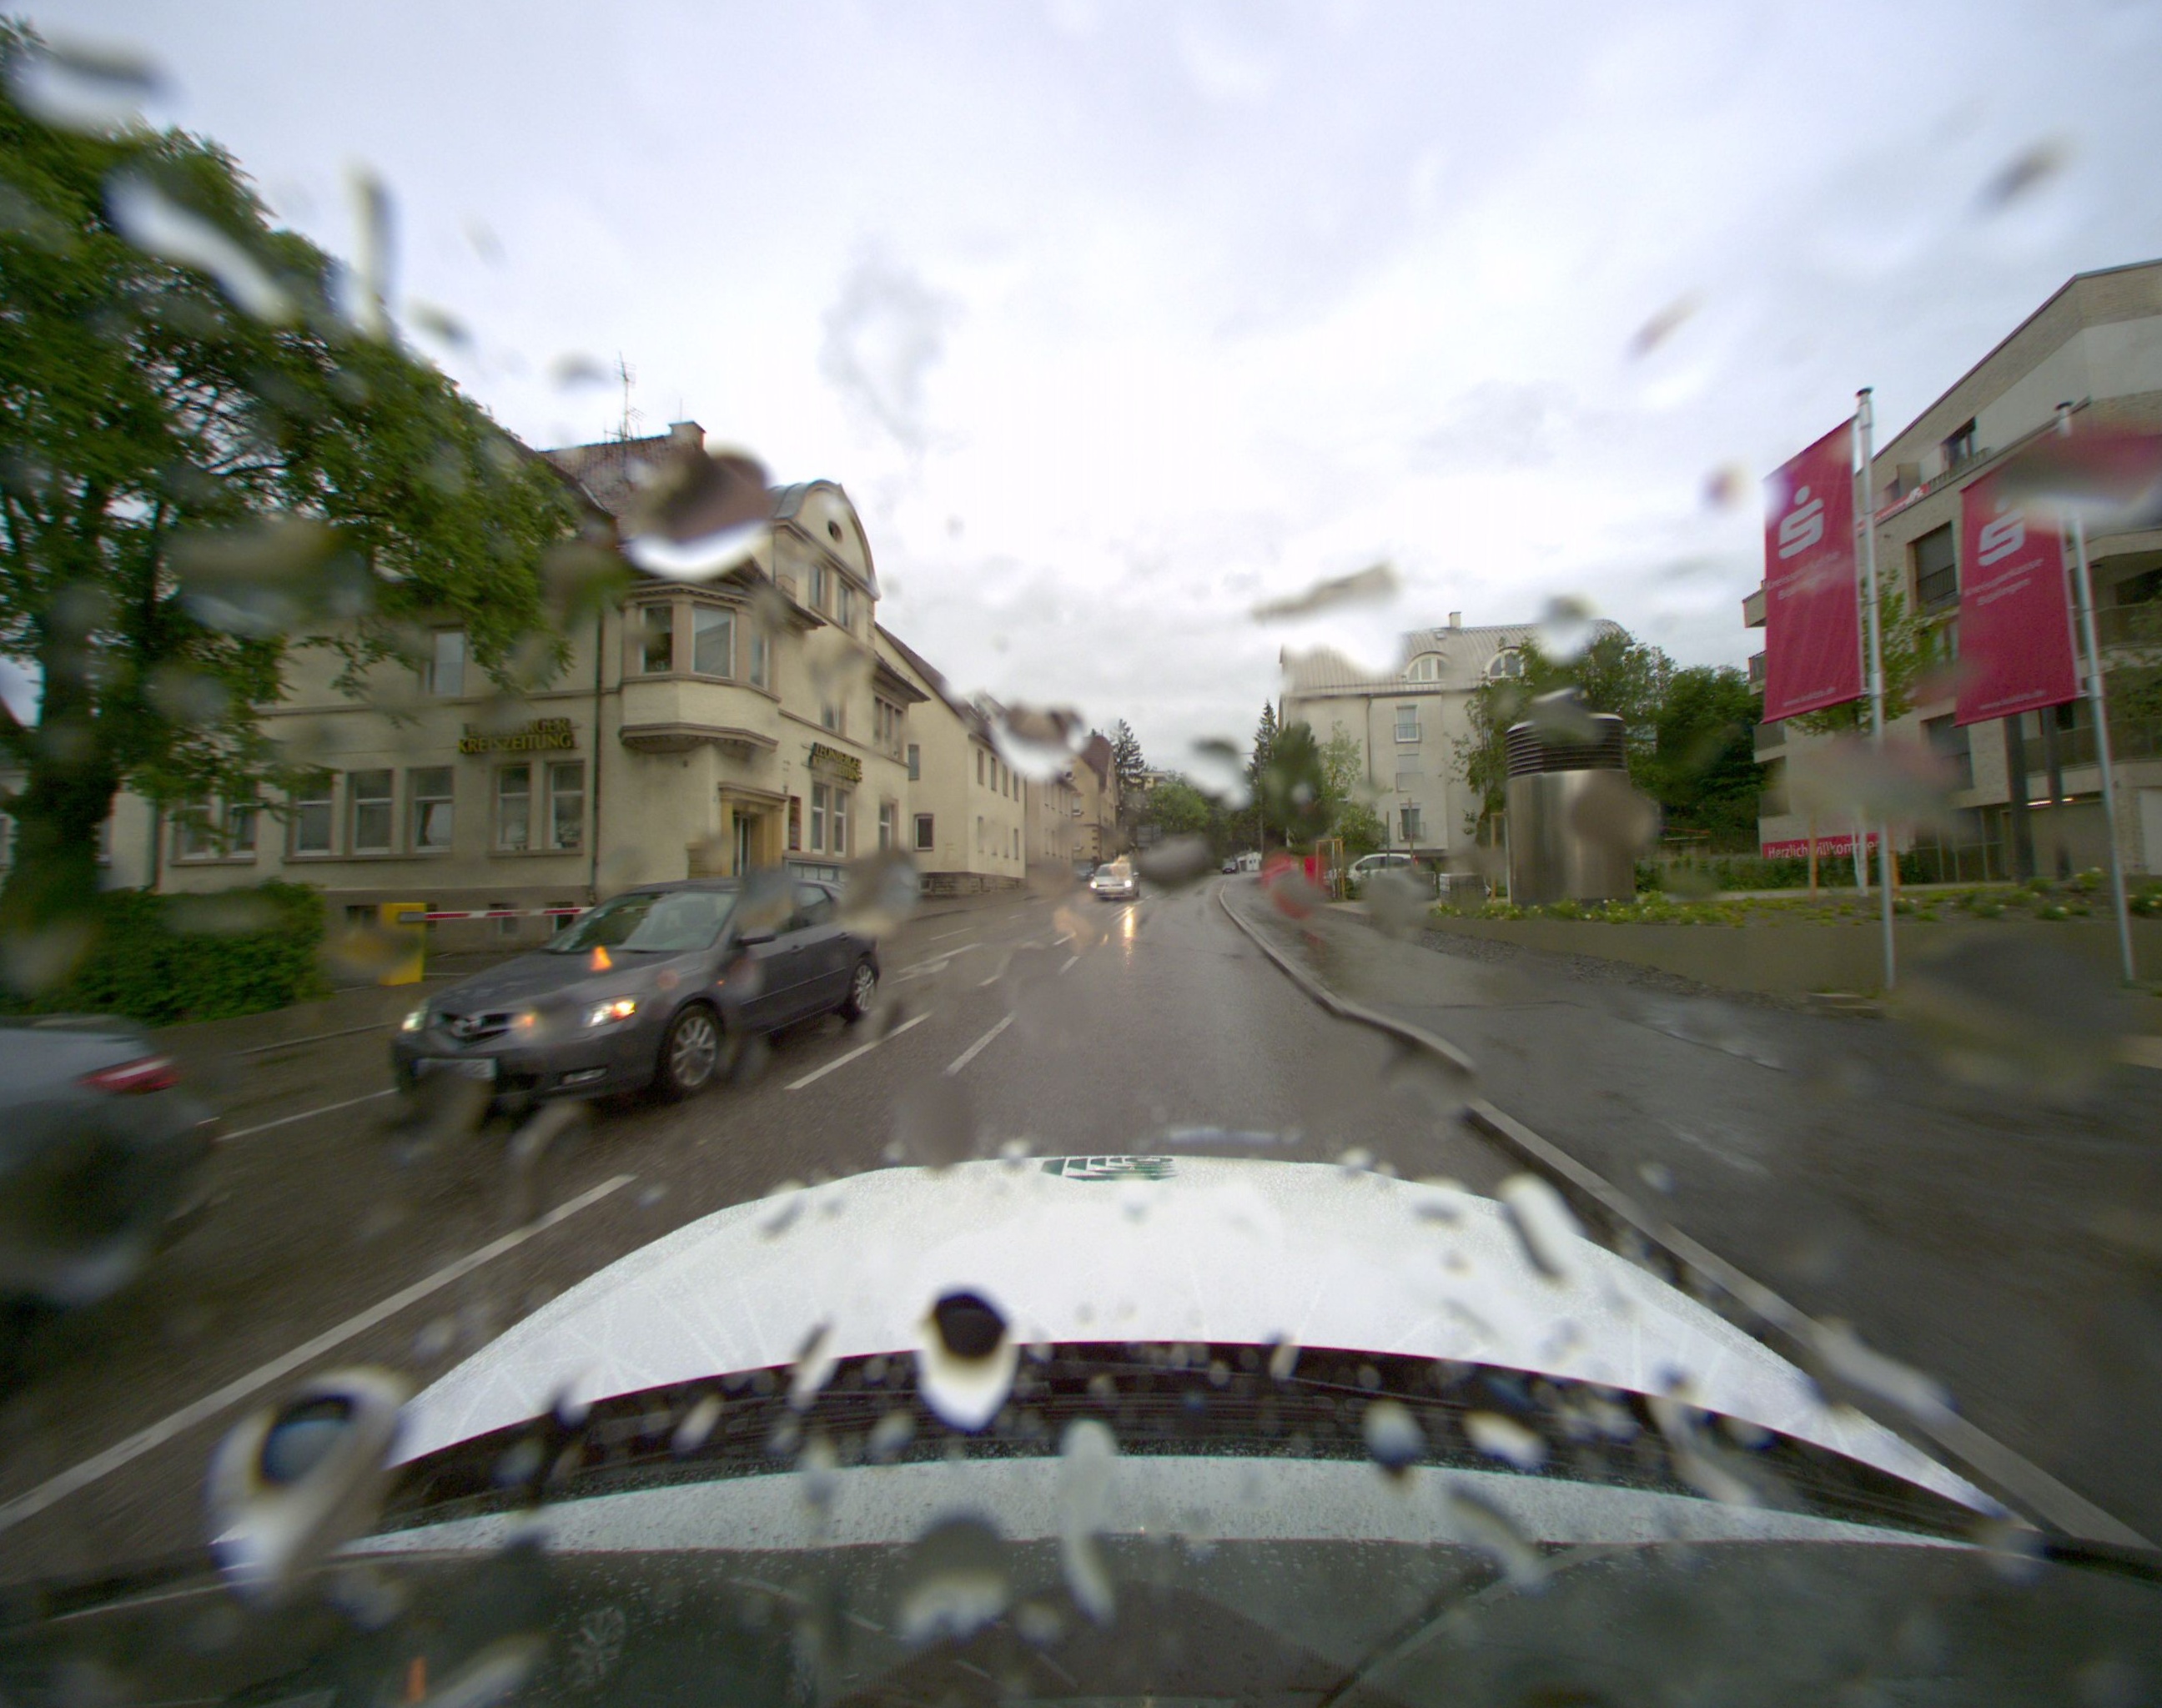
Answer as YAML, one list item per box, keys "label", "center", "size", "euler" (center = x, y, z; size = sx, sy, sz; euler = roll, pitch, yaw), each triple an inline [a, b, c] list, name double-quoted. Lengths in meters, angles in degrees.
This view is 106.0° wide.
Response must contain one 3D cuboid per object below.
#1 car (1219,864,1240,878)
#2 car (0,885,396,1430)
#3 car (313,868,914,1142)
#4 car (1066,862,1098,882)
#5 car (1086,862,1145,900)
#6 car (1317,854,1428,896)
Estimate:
- label: "car"
  center: [17.703, 1.958, 96.830]
  size: [1.730, 1.571, 3.832]
  euler: [2, 0, 20]
- label: "car"
  center: [-4.123, 0.845, 0.940]
  size: [1.929, 1.440, 5.029]
  euler: [-1, -1, 9]
- label: "car"
  center: [-3.161, 0.879, 6.893]
  size: [1.788, 1.439, 4.702]
  euler: [-1, -1, 10]
- label: "car"
  center: [0.137, 1.422, 65.547]
  size: [1.759, 1.503, 3.895]
  euler: [0, 0, 12]
- label: "car"
  center: [1.478, 1.054, 33.428]
  size: [1.788, 1.439, 4.702]
  euler: [-1, -1, 10]
- label: "car"
  center: [10.819, 0.762, 30.423]
  size: [3.644, 1.503, 1.781]
  euler: [0, 0, 9]
